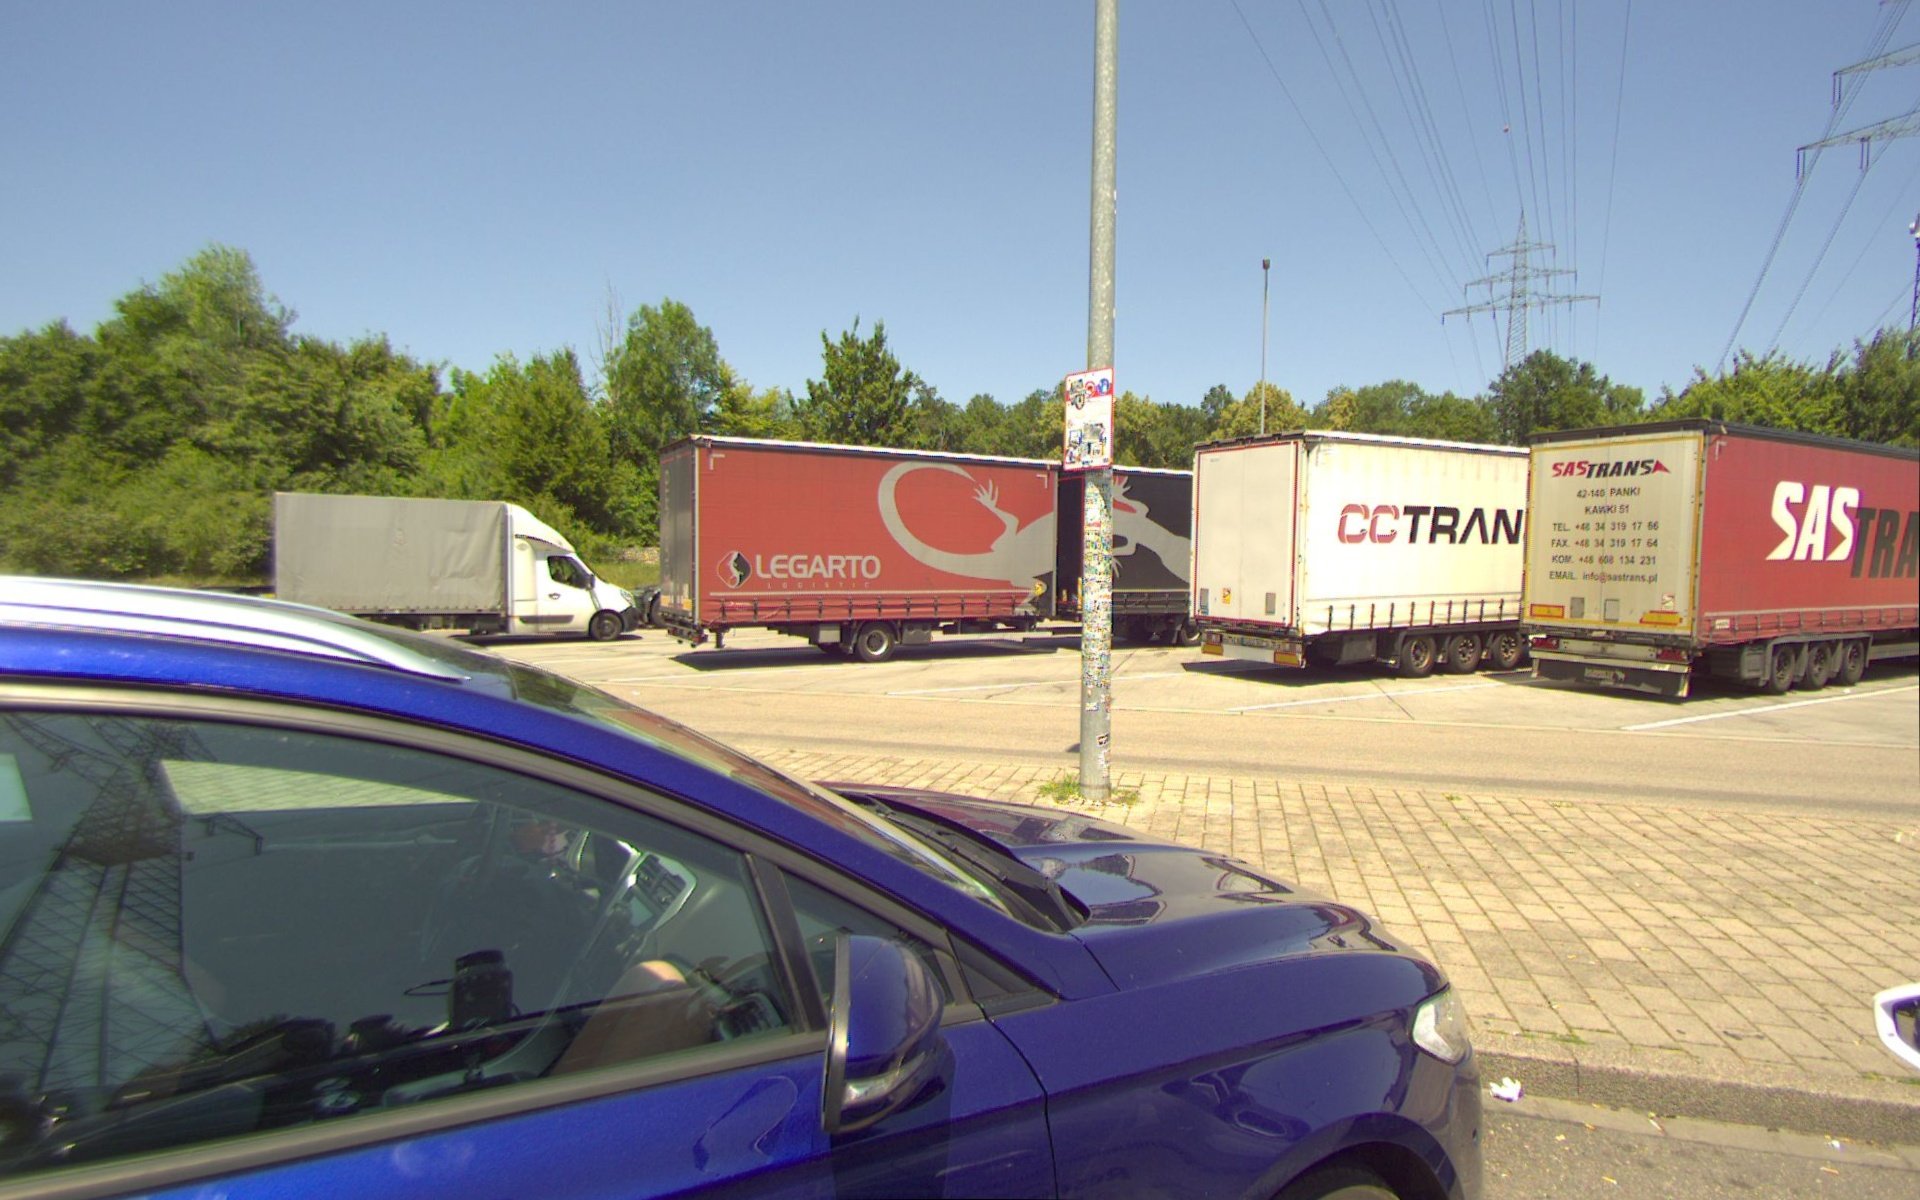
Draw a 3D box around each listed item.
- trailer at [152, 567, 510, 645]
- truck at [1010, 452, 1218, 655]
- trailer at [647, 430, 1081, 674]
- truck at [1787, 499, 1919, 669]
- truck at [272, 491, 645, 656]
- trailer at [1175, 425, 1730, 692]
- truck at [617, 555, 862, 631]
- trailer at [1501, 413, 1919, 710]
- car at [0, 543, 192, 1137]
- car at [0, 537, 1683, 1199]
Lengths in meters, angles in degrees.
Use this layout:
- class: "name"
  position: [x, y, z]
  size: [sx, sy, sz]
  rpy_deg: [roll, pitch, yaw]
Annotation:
- class: "trailer"
  position: [-15.172, 0.059, 24.893]
  size: [7.204, 1.711, 2.249]
  rpy_deg: [-1, 3, -29]
- class: "truck"
  position: [3.561, -1.065, 23.448]
  size: [3.947, 4.298, 2.723]
  rpy_deg: [-1, 3, -30]
- class: "trailer"
  position: [-1.752, -0.899, 20.327]
  size: [8.376, 4.141, 2.722]
  rpy_deg: [-1, 3, -30]
- class: "truck"
  position: [21.201, -0.394, 21.999]
  size: [5.829, 3.373, 2.837]
  rpy_deg: [-1, 3, -30]
- class: "truck"
  position: [-11.198, -0.622, 23.023]
  size: [7.204, 3.279, 2.727]
  rpy_deg: [-1, 3, -29]
- class: "trailer"
  position: [10.578, -0.800, 20.334]
  size: [13.962, 4.141, 2.782]
  rpy_deg: [-1, 3, -30]
- class: "truck"
  position: [-6.355, -0.227, 29.273]
  size: [6.733, 2.041, 1.987]
  rpy_deg: [-1, 1, -26]
- class: "trailer"
  position: [15.598, -0.692, 18.723]
  size: [13.962, 4.141, 2.777]
  rpy_deg: [-1, 3, -30]
- class: "car"
  position: [-4.622, 0.601, 2.224]
  size: [4.444, 1.520, 1.762]
  rpy_deg: [0, 2, -32]
- class: "car"
  position: [-1.045, 0.678, 1.492]
  size: [4.444, 1.511, 1.859]
  rpy_deg: [0, 2, -32]
